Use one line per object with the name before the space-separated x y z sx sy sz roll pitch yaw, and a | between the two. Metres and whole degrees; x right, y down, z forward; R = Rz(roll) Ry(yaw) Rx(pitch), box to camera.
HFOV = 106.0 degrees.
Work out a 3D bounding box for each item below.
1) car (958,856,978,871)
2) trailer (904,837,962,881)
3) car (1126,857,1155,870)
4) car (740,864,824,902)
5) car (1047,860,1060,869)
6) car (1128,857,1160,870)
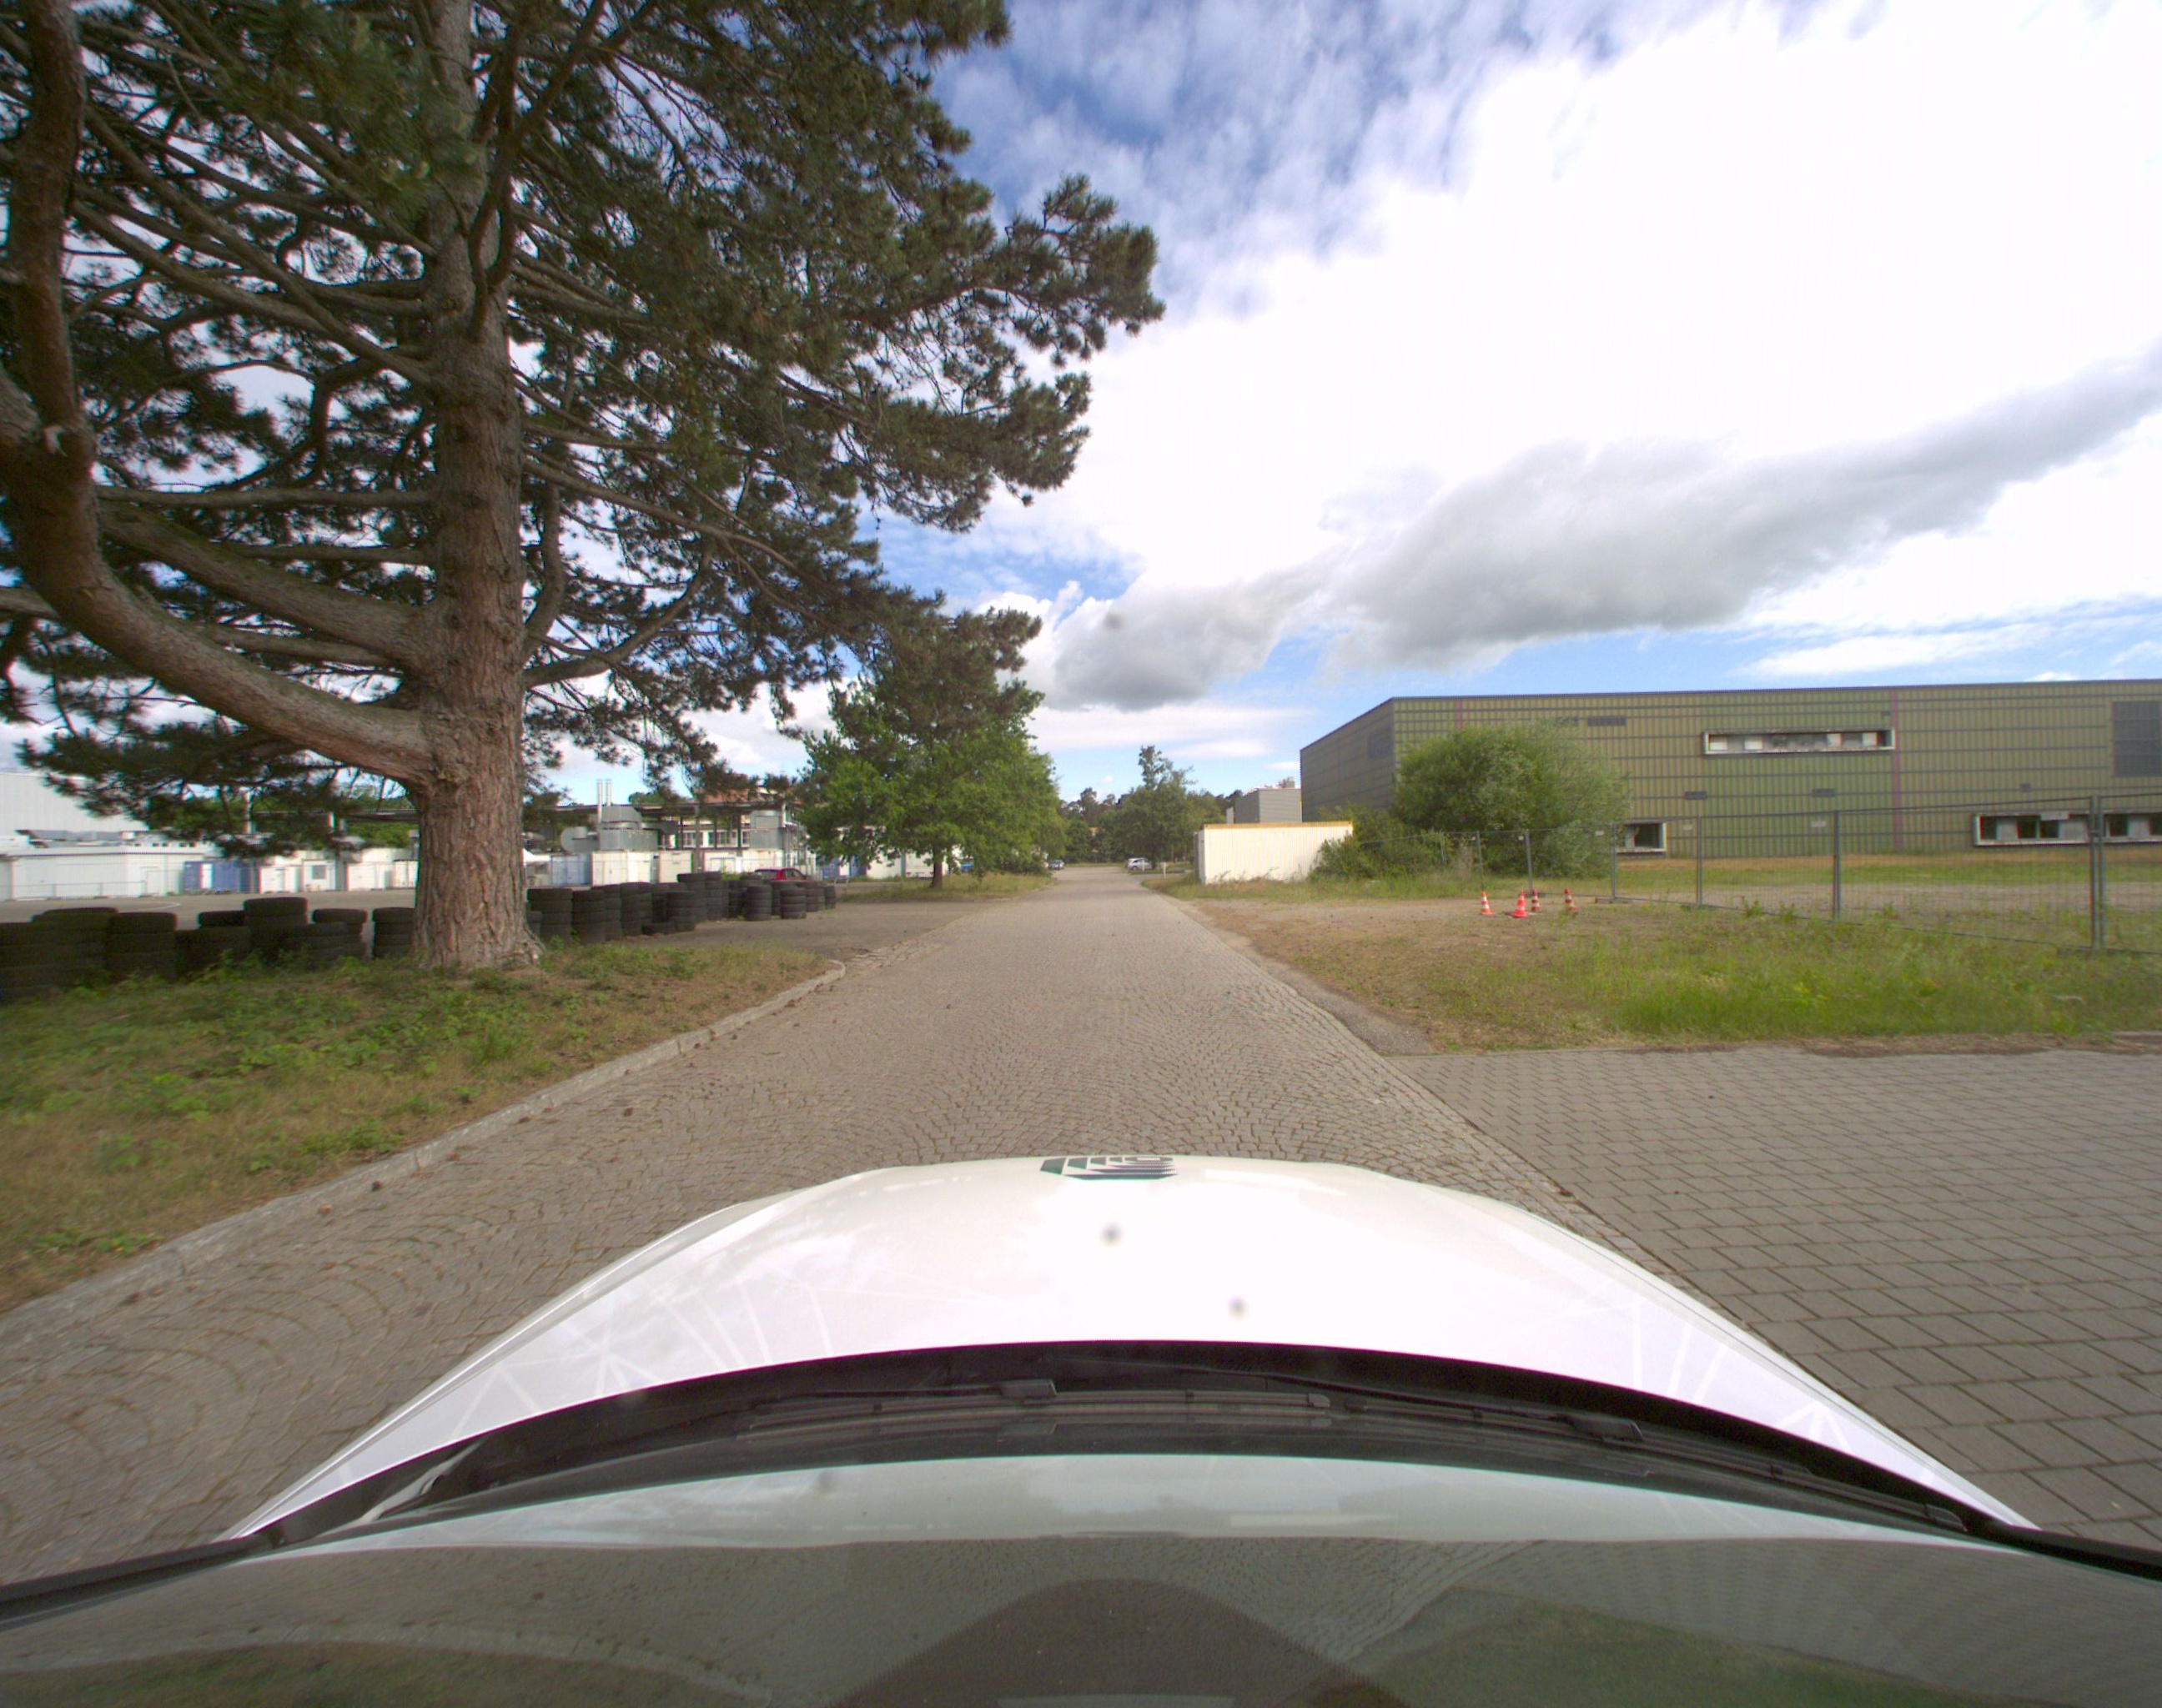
car | -15.573 1.330 112.568 1.986 2.014 4.770 -1 0 2
trailer | -13.048 0.420 72.799 2.614 3.598 10.187 -1 0 4
car | 7.520 1.207 102.572 3.509 1.362 1.623 -3 -1 2
car | -12.614 1.197 34.642 1.617 1.433 4.072 -1 0 7
car | -4.161 1.624 124.373 1.641 1.369 3.999 -1 0 2
car | 8.146 1.207 105.255 3.969 1.448 1.654 -3 -1 2
